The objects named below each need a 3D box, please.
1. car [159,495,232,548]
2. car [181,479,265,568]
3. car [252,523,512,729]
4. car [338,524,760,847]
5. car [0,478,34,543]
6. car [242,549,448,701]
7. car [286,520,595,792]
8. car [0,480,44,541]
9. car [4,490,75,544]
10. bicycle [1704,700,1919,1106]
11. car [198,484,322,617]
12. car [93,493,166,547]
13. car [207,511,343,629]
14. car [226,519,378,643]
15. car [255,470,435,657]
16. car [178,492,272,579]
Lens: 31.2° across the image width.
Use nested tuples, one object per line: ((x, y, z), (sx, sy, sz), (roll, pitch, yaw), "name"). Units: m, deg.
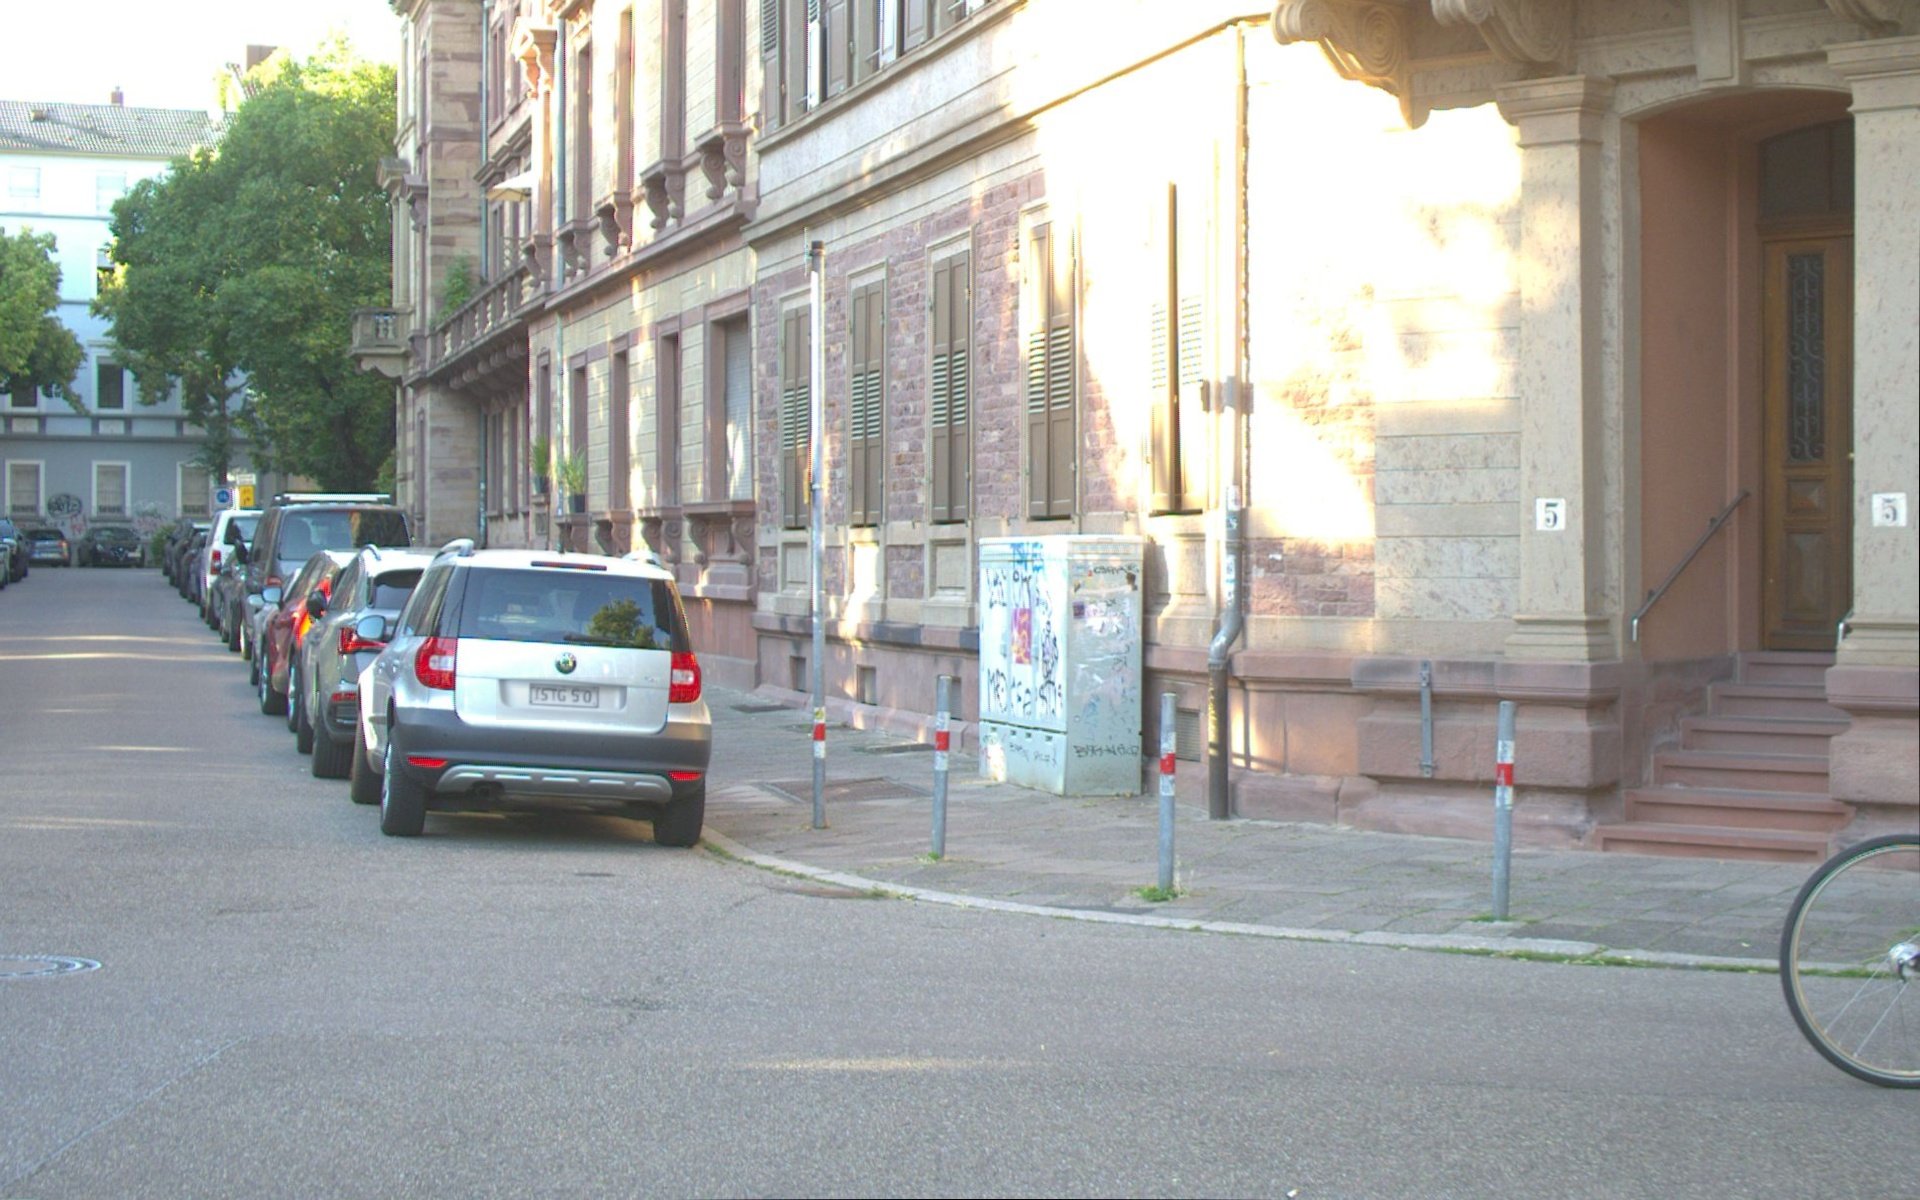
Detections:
((-26.270, -2.686, 118.031), (1.993, 1.678, 4.001), (1, 0, -19), "car")
((-17.855, -1.862, 83.198), (1.797, 2.010, 3.956), (3, 1, -14), "car")
((-5.227, 0.183, 30.731), (1.797, 1.608, 3.956), (3, 1, -16), "car")
((-2.578, 0.428, 20.626), (1.915, 1.651, 4.188), (3, 1, -14), "car")
((-23.535, -2.217, 83.485), (1.825, 1.495, 3.932), (3, 1, -13), "car")
((-6.382, 0.222, 35.375), (1.797, 1.340, 3.956), (3, 1, -14), "car")
((-3.939, 0.335, 25.476), (1.825, 1.717, 4.545), (3, 1, -13), "car")
((-24.633, -2.341, 88.468), (1.825, 1.495, 3.932), (3, 1, -13), "car")
((-31.011, -2.768, 115.787), (1.993, 1.678, 4.001), (1, 0, -19), "car")
((3.199, 0.864, 9.613), (2.117, 1.050, 0.700), (2, 2, 9), "bicycle")
((-11.796, -0.858, 57.764), (1.797, 2.065, 3.956), (3, 1, -14), "car")
((-28.303, -2.710, 117.061), (1.993, 1.678, 4.001), (1, 0, -19), "car")
((-10.440, -0.490, 52.219), (1.797, 1.617, 3.956), (3, 1, -14), "car")
((-9.078, -0.288, 47.201), (1.797, 1.518, 3.956), (3, 1, -14), "car")
((-7.451, -0.472, 41.403), (1.797, 2.065, 3.956), (3, 1, -14), "car")
((-15.825, -1.408, 73.942), (1.797, 1.722, 3.956), (3, 1, -14), "car")
